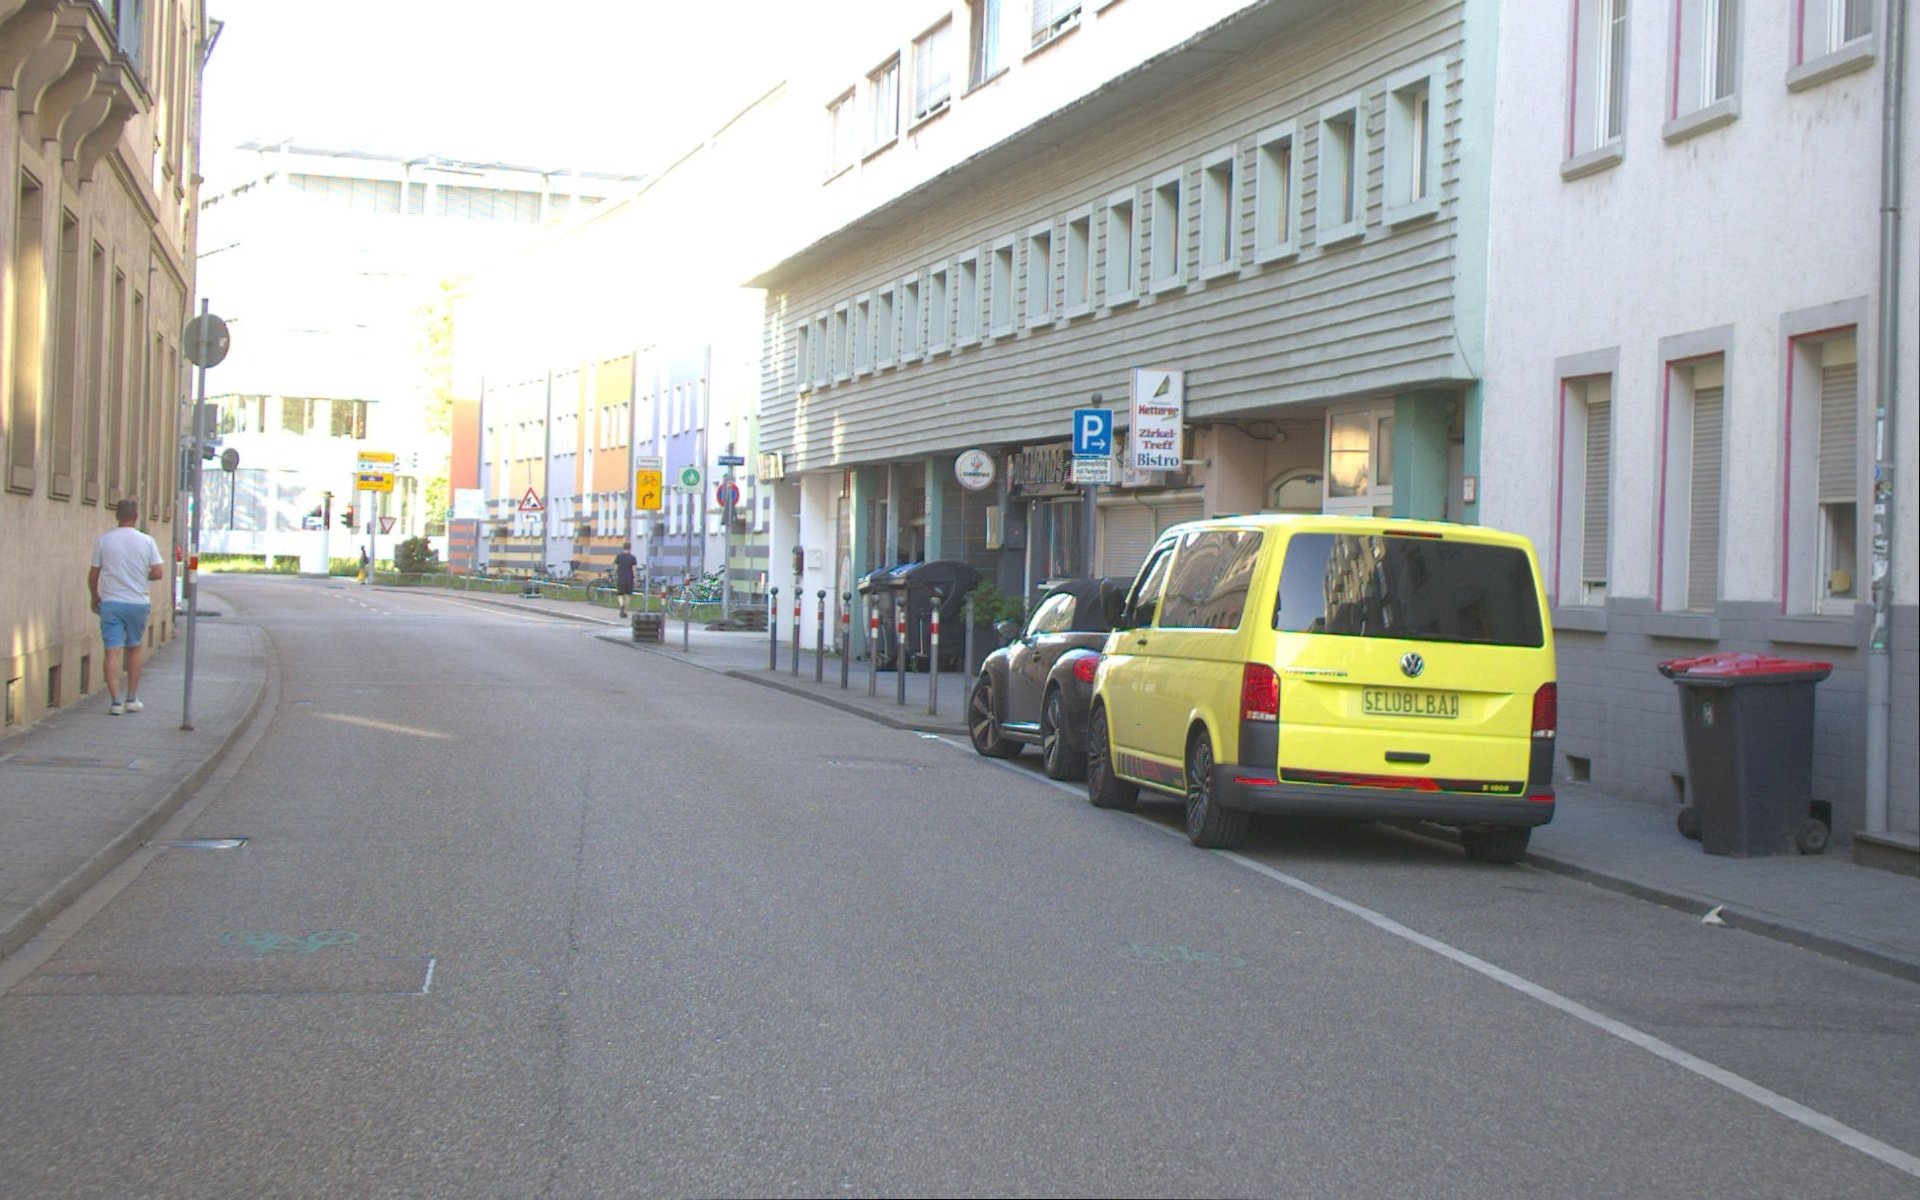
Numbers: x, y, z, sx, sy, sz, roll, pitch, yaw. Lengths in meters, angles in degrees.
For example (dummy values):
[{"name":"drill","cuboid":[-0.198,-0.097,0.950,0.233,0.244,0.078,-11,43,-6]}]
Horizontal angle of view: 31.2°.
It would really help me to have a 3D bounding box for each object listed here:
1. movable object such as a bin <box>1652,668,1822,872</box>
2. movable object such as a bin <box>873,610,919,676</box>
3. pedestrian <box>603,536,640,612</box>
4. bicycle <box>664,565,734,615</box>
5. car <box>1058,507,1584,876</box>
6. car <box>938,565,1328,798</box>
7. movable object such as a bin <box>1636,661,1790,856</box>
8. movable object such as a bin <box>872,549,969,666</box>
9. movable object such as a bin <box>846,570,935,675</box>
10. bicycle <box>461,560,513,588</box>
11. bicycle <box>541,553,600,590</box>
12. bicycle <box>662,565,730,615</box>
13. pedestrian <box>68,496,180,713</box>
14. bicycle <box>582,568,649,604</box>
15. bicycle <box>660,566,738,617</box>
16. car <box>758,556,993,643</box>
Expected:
[{"name":"movable object such as a bin","cuboid":[4.281,0.926,18.969,0.626,1.047,0.709,-3,1,-13]},{"name":"movable object such as a bin","cuboid":[-0.884,0.598,47.391,0.556,0.896,0.523,1,-2,-11]},{"name":"pedestrian","cuboid":[-7.905,-0.617,80.334,0.696,1.754,1.189,0,1,-13]},{"name":"bicycle","cuboid":[-6.199,-0.234,81.747,1.640,1.137,0.283,-1,2,-21]},{"name":"car","cuboid":[1.998,0.451,20.666,1.883,1.875,4.847,3,1,-9]},{"name":"car","cuboid":[1.194,0.550,25.969,1.883,1.484,4.369,3,1,-11]},{"name":"movable object such as a bin","cuboid":[4.326,0.902,19.781,0.606,1.047,0.709,-3,1,-10]},{"name":"movable object such as a bin","cuboid":[-0.525,0.111,44.875,0.981,1.475,1.552,1,-1,-11]},{"name":"movable object such as a bin","cuboid":[-0.942,0.311,46.362,0.981,1.380,1.321,1,-2,-11]},{"name":"bicycle","cuboid":[-17.045,-0.930,123.821,1.753,1.000,0.613,1,0,-18]},{"name":"bicycle","cuboid":[-12.510,-0.908,110.400,1.810,1.133,0.552,2,0,-15]},{"name":"bicycle","cuboid":[-6.294,-0.239,82.007,1.602,1.137,0.237,-1,2,-21]},{"name":"pedestrian","cuboid":[-6.697,0.032,27.572,0.692,1.664,0.875,4,0,-9]},{"name":"bicycle","cuboid":[-9.411,-0.383,93.859,1.748,0.943,0.552,1,0,-14]},{"name":"bicycle","cuboid":[-6.103,-0.206,80.319,1.748,1.137,0.552,-1,2,-13]},{"name":"car","cuboid":[-1.611,-0.013,64.803,4.077,1.477,1.866,2,0,-13]}]
